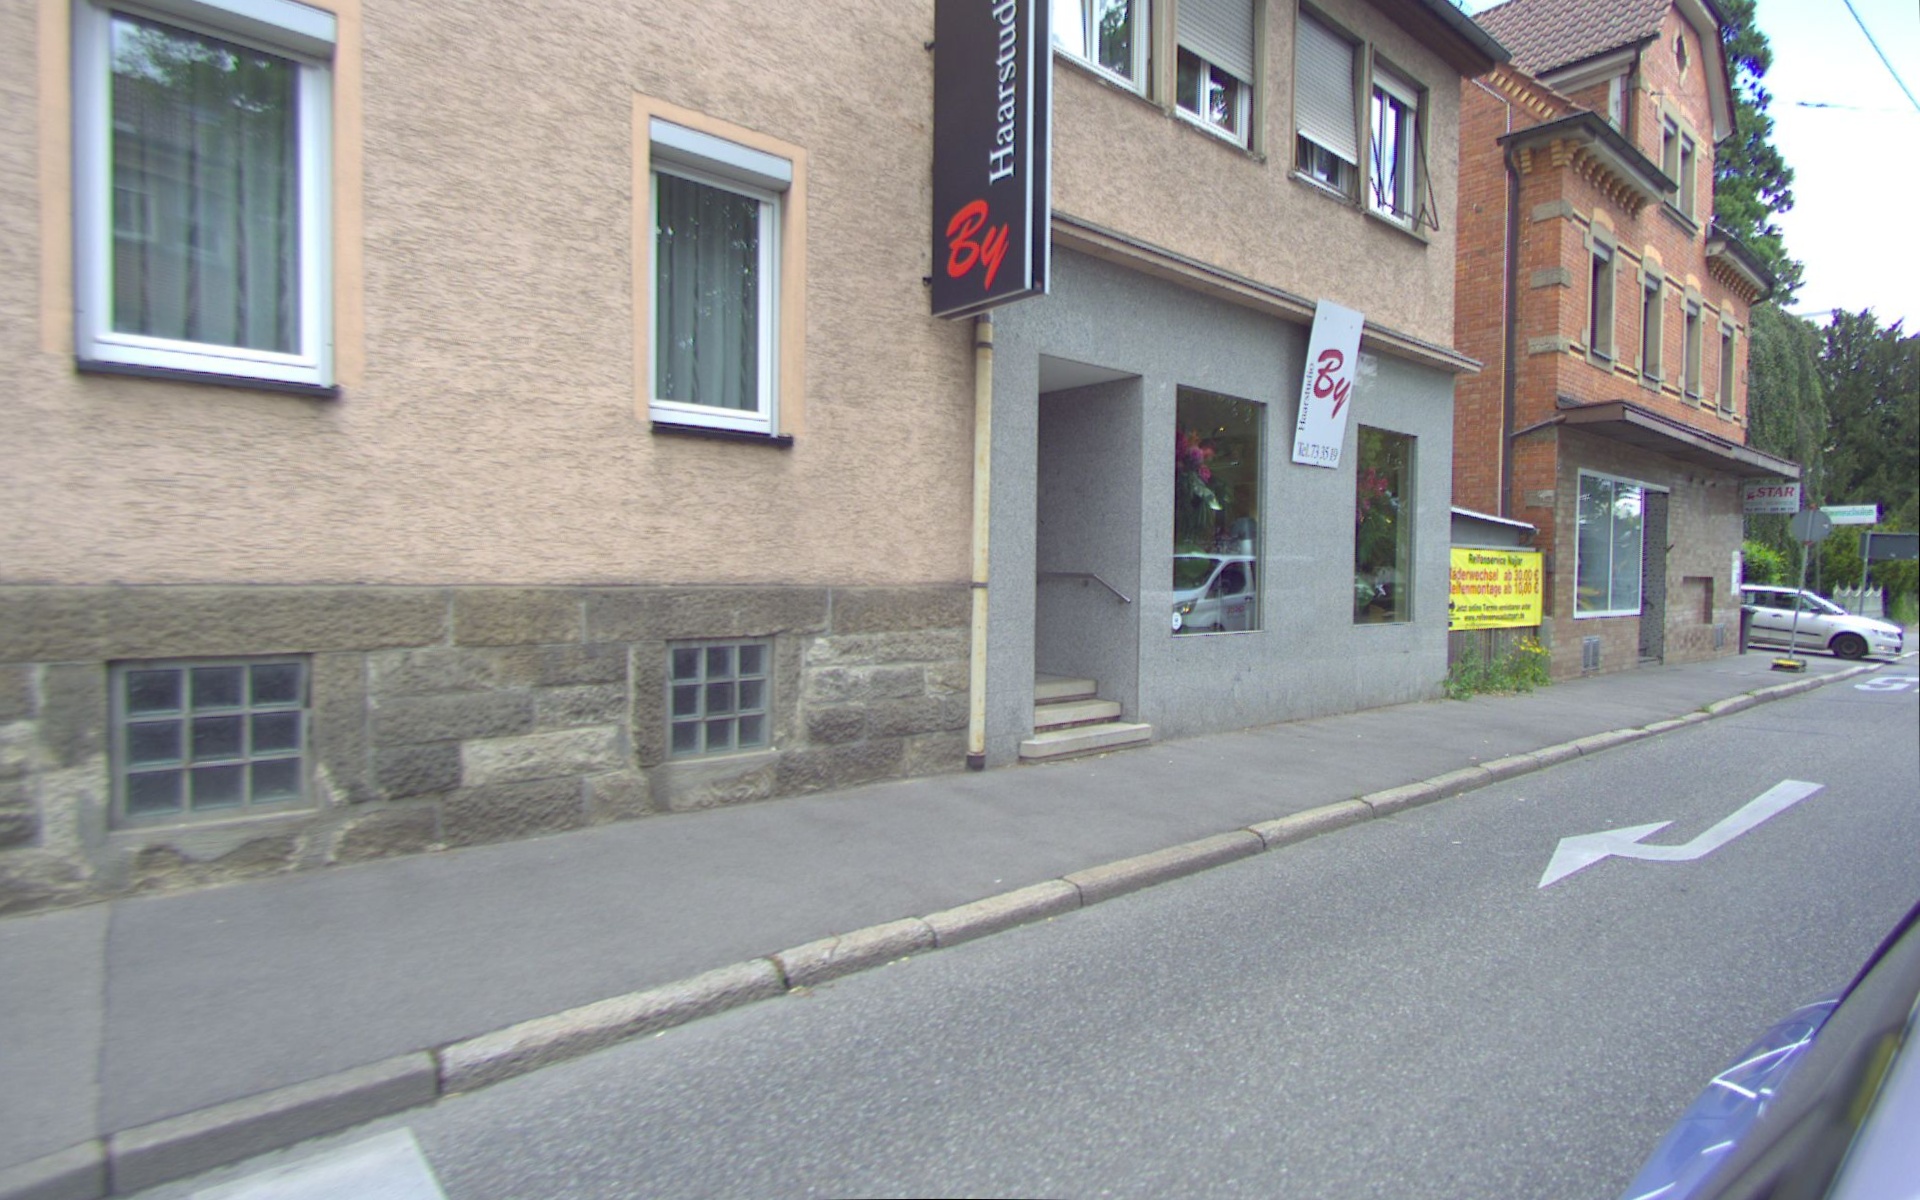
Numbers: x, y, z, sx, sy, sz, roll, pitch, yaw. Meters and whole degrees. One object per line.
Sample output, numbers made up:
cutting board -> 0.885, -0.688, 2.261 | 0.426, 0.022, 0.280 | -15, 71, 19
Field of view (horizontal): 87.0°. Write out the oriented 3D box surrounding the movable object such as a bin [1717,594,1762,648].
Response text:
movable object such as a bin -> 16.903, 0.440, 21.946 | 0.611, 1.114, 0.608 | -1, 4, -40

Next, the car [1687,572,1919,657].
car -> 19.529, 0.252, 23.437 | 1.574, 1.487, 4.038 | -1, 6, -42
